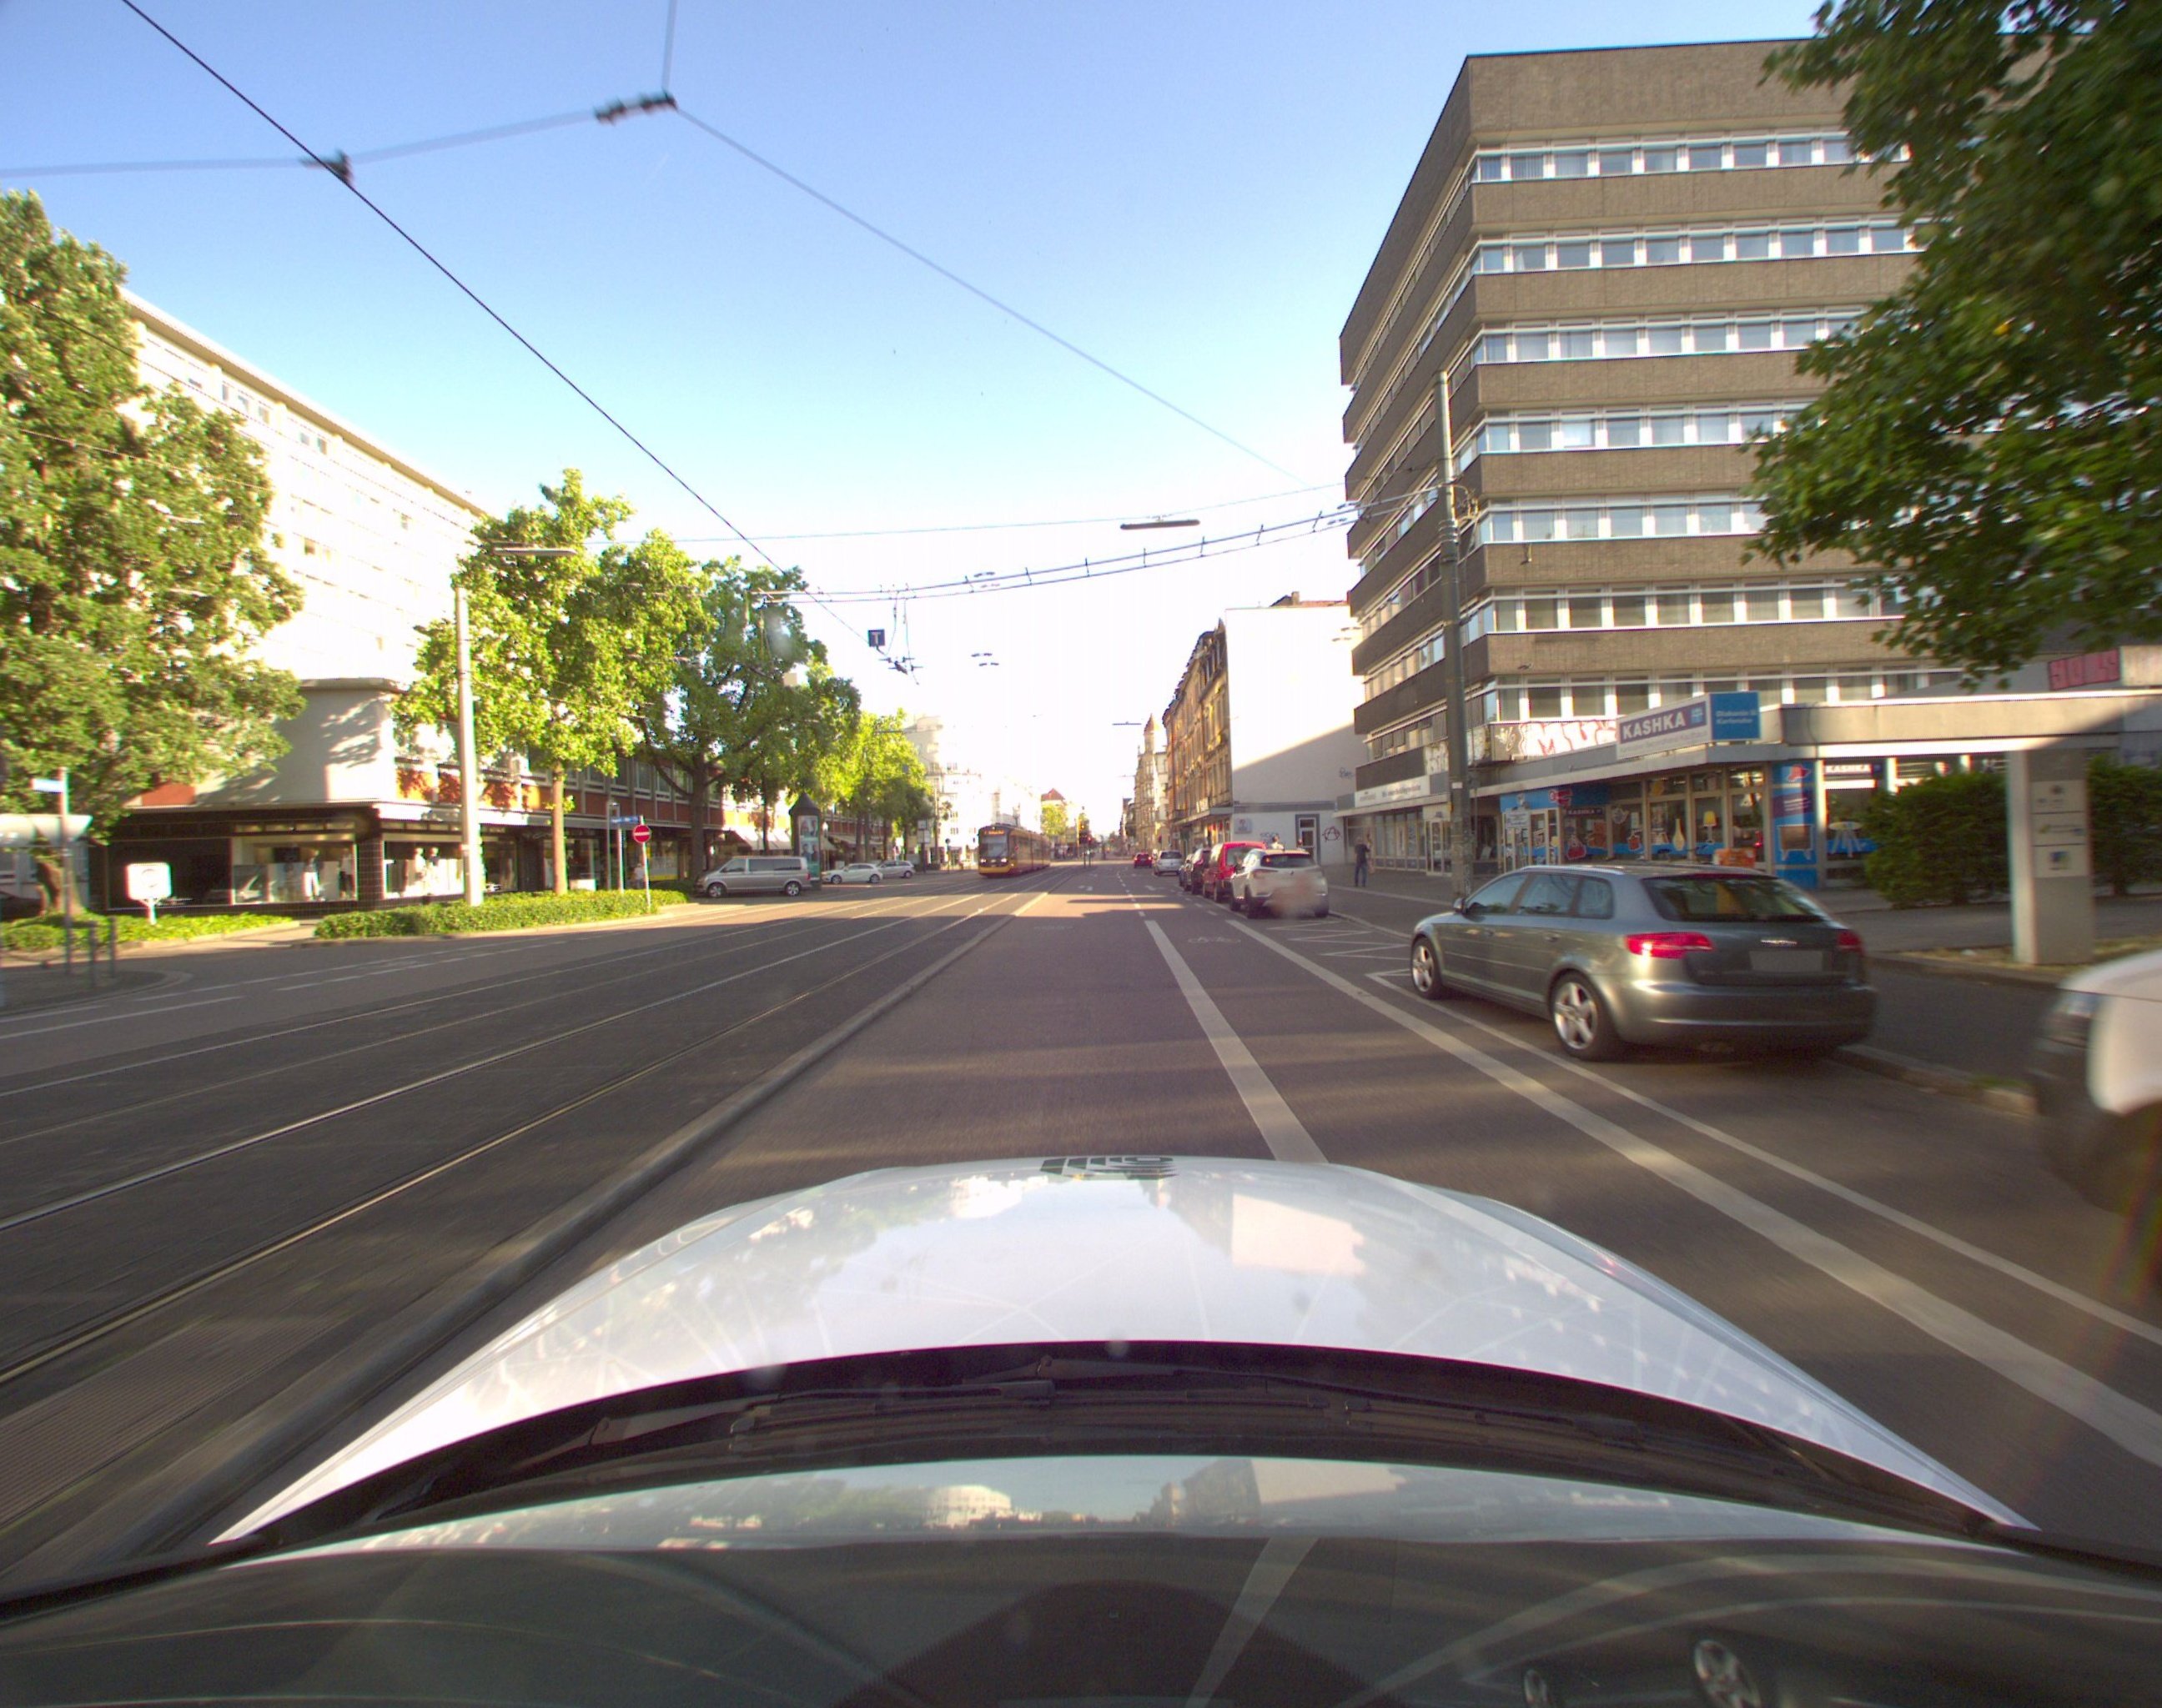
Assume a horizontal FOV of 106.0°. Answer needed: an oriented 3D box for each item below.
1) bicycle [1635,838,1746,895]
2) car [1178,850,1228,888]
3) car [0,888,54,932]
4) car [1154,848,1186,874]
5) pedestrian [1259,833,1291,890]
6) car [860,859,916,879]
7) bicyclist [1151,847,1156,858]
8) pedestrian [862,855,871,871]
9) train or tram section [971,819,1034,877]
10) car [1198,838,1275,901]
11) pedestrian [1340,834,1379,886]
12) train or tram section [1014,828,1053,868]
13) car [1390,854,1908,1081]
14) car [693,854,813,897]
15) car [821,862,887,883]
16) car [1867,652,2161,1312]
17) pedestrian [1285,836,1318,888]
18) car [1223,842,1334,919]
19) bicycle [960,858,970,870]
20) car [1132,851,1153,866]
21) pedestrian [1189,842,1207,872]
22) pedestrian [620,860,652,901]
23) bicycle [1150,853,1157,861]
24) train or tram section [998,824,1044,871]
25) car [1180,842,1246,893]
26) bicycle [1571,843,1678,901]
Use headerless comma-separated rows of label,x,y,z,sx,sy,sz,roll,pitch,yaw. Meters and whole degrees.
bicycle,13.251,0.252,17.724,2.011,1.096,0.636,-3,0,-6
car,5.257,0.608,35.460,1.632,1.492,3.795,0,1,0
car,-46.976,2.449,34.420,1.987,1.794,3.999,-3,0,0
car,5.660,0.421,52.399,1.632,1.615,3.945,-1,0,0
pedestrian,6.671,0.257,28.081,0.791,1.899,1.033,-3,0,1
car,-16.289,1.274,68.779,4.292,1.566,1.810,-1,-1,-30
bicyclist,9.427,-0.143,105.555,0.417,1.409,0.663,-3,0,25
pedestrian,-23.939,0.980,90.884,0.641,1.722,0.603,0,1,21
train or tram section,-5.287,-0.387,57.497,2.748,3.551,12.472,-3,0,2
car,4.779,0.445,25.635,1.669,1.808,4.249,-1,0,1
pedestrian,9.706,0.196,28.420,0.897,1.713,1.033,-4,0,1
train or tram section,-4.605,-0.519,81.283,2.666,3.551,12.846,-3,0,2
car,4.341,0.726,7.170,1.669,1.404,4.167,0,-1,0
car,-15.689,0.978,39.040,5.137,1.929,1.836,0,-1,-30
car,-16.214,1.321,58.226,4.281,1.429,1.750,0,-1,-29
car,4.170,0.390,0.969,1.869,2.021,4.908,-1,0,2
pedestrian,7.634,0.273,28.189,0.808,1.756,1.033,-3,0,1
car,4.629,0.569,19.698,1.779,1.596,4.329,-2,0,3
bicycle,-13.353,1.103,93.679,0.668,1.327,1.909,1,0,5
car,5.930,0.421,78.779,1.748,1.466,3.945,-1,0,0
pedestrian,7.401,0.188,51.686,0.943,1.792,1.055,-3,0,1
pedestrian,-21.195,1.255,38.784,0.889,1.878,0.925,-2,0,29
bicycle,9.405,0.388,105.450,0.417,1.096,1.421,-2,0,25
train or tram section,-4.936,-0.513,69.317,2.666,3.551,11.130,-3,0,2
car,4.850,0.463,30.438,1.814,1.757,4.477,-1,0,1
bicycle,11.191,0.362,16.790,1.875,1.096,0.469,-2,-1,-1
